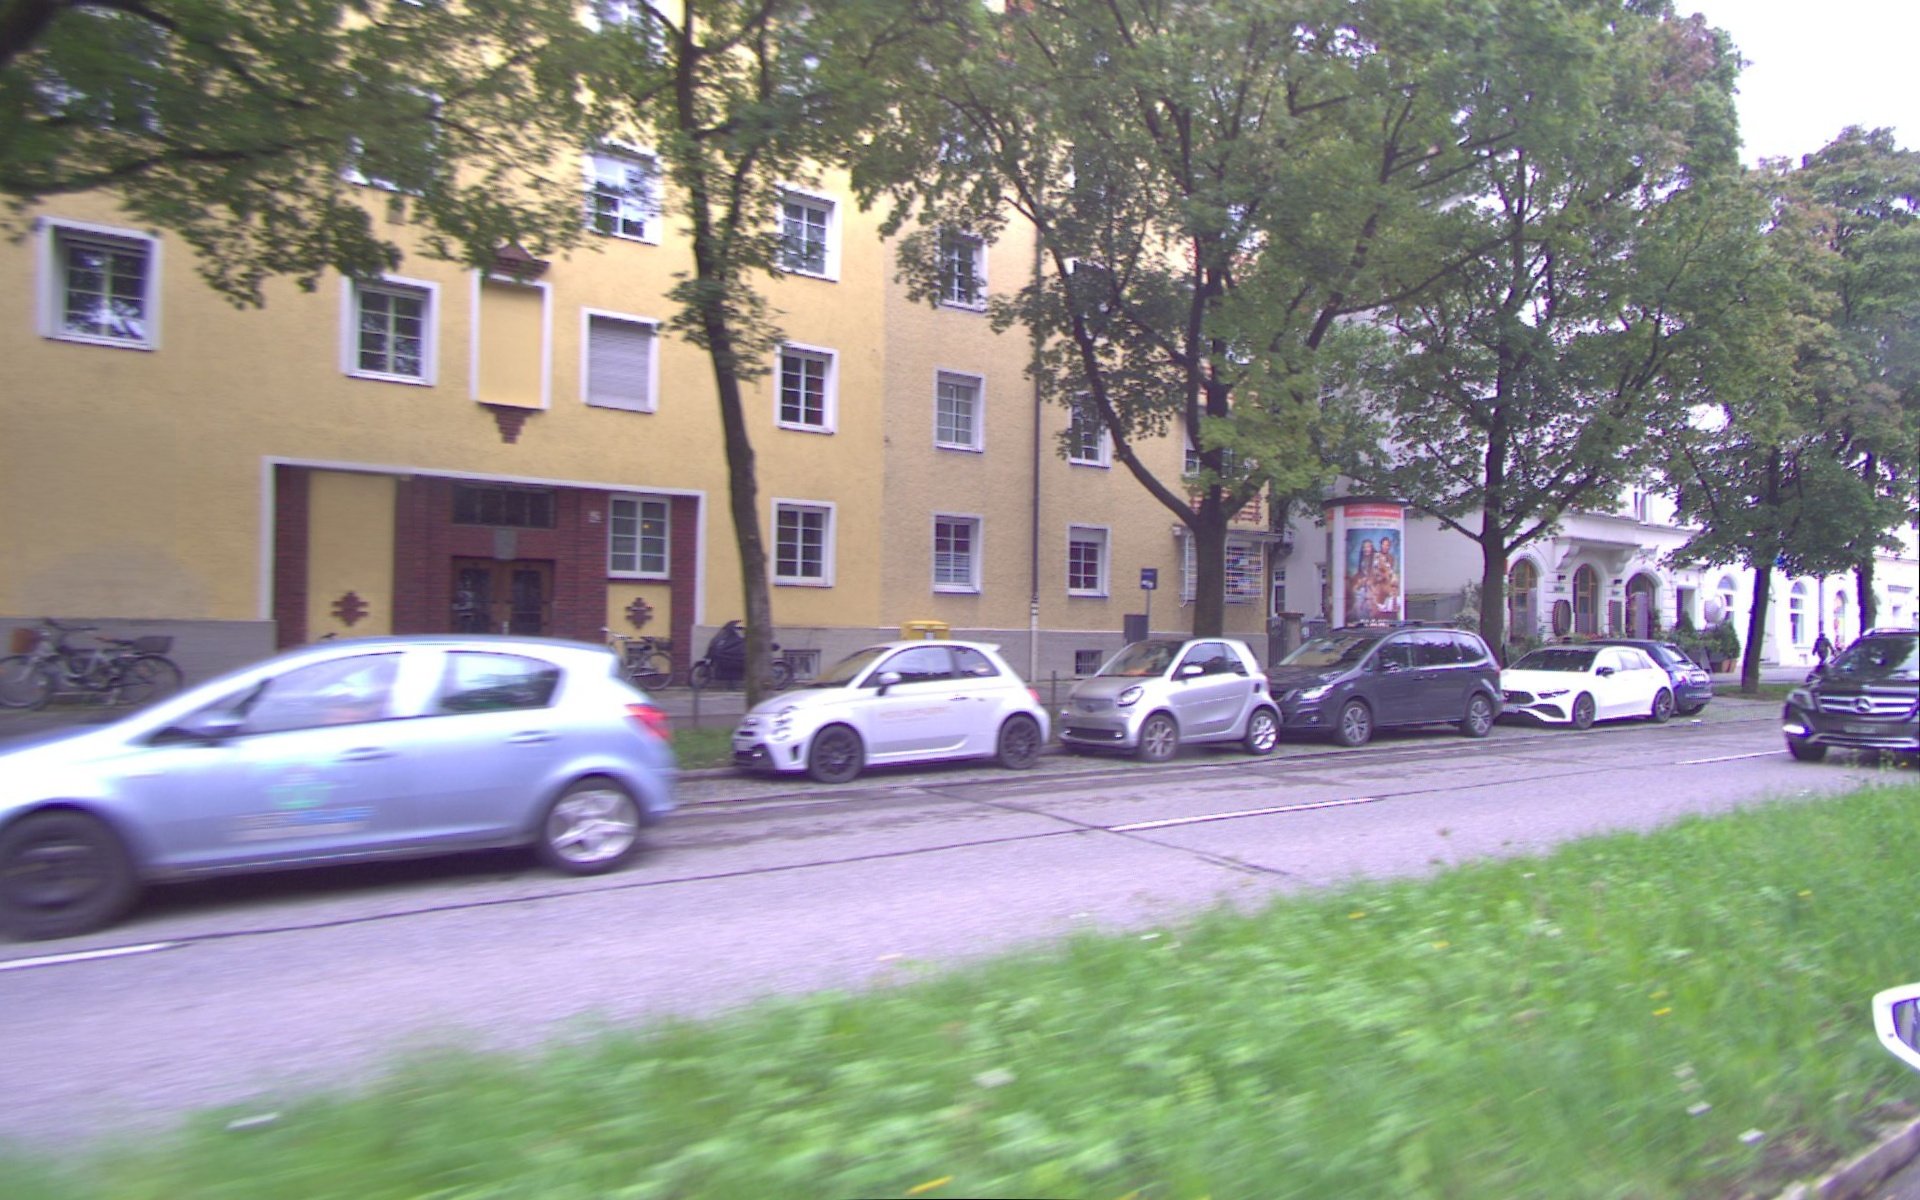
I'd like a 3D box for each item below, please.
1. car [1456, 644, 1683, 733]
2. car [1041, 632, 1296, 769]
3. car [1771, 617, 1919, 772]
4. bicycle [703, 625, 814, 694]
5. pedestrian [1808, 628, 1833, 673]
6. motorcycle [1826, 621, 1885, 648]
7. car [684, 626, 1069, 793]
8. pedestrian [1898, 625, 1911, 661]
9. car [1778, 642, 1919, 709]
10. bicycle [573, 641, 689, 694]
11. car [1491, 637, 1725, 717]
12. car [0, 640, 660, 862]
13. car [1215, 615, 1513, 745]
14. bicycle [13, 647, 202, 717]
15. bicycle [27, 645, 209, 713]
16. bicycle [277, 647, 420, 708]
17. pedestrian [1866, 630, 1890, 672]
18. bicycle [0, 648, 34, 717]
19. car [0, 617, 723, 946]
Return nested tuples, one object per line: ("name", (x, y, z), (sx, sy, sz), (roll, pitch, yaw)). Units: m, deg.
("car", (11.167, 1.525, 18.335), (4.353, 1.421, 1.718), (1, -2, -31))
("car", (2.783, 1.239, 13.346), (2.977, 1.578, 1.717), (2, -1, -32))
("car", (12.188, 1.108, 12.561), (4.318, 1.701, 1.761), (1, -3, -31))
("bicycle", (-3.783, 1.104, 18.928), (1.908, 1.238, 0.766), (1, -1, -31))
("pedestrian", (33.463, 1.967, 39.043), (0.762, 1.719, 0.540), (1, -1, -32))
("motorcycle", (40.341, 1.565, 45.251), (1.947, 1.145, 0.610), (1, -1, 10))
("car", (-0.885, 1.110, 11.377), (4.010, 1.582, 1.718), (2, -1, -31))
("pedestrian", (44.175, 2.008, 46.973), (0.417, 1.653, 0.778), (0, -2, 45))
("car", (22.922, 1.858, 25.576), (4.591, 1.527, 1.802), (2, -1, -31))
("bicycle", (-5.887, 1.191, 18.024), (1.908, 0.911, 0.539), (1, -1, -31))
("car", (13.699, 1.557, 21.461), (1.713, 1.483, 3.870), (1, -2, -31))
("car", (-4.919, 1.077, 8.457), (4.312, 1.424, 1.718), (2, -1, -31))
("car", (6.305, 1.144, 15.501), (4.712, 1.751, 1.802), (1, -1, -31))
("bicycle", (-11.735, 1.112, 13.912), (1.908, 0.911, 0.539), (1, -1, -31))
("bicycle", (-12.031, 1.113, 14.432), (1.908, 0.911, 0.539), (1, -1, -31))
("bicycle", (-9.691, 1.206, 15.991), (1.908, 0.911, 0.539), (1, -1, -31))
("pedestrian", (38.188, 2.108, 41.792), (0.583, 1.719, 0.943), (0, -1, 32))
("bicycle", (-13.652, 1.102, 13.331), (1.908, 0.911, 0.481), (1, -1, -31))
("car", (-3.689, 0.925, 6.199), (4.010, 1.526, 1.802), (1, -4, -31))
